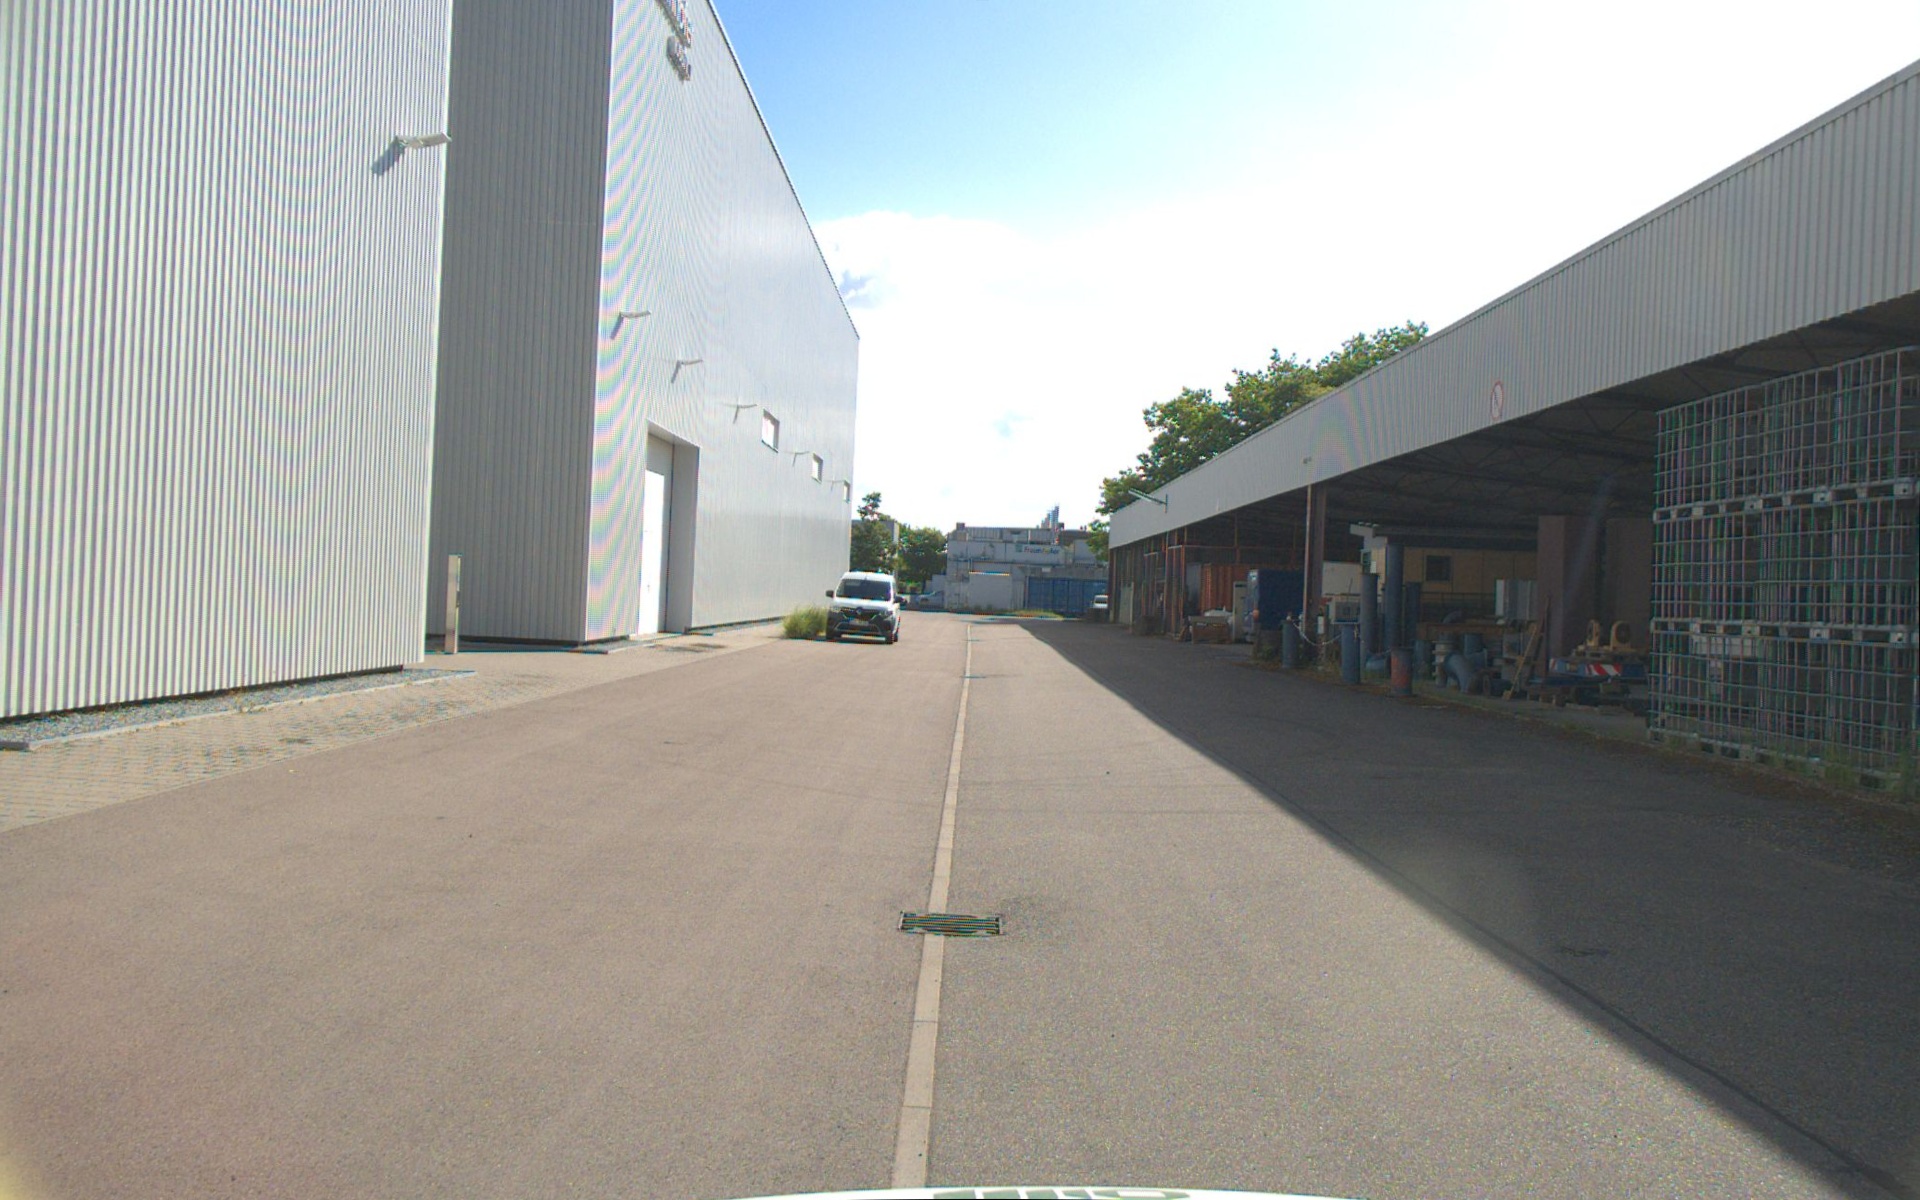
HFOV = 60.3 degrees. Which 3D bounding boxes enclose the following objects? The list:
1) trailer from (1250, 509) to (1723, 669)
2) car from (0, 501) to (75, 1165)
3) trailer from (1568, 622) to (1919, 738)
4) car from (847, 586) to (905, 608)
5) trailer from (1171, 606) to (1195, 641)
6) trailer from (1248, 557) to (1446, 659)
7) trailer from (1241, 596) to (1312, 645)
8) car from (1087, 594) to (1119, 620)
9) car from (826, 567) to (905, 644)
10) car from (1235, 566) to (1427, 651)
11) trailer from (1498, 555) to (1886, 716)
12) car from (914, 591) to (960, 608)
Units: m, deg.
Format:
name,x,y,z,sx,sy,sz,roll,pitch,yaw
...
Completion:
name,x,y,z,sx,sy,sz,roll,pitch,yaw
trailer,12.025,-0.251,38.391,10.056,3.401,2.801,1,0,1
car,-2.960,0.471,1.611,1.721,1.470,4.315,5,1,1
trailer,10.229,0.913,19.223,5.611,1.206,1.974,1,0,-1
car,-6.394,-0.211,126.482,4.357,1.558,1.824,1,0,0
trailer,7.473,0.771,55.416,0.540,1.138,1.546,1,0,-1
trailer,9.509,0.197,40.894,4.423,2.383,2.047,1,0,1
trailer,9.997,0.626,52.301,1.995,1.492,1.739,1,0,4
car,9.862,0.498,113.983,1.938,1.630,4.379,1,1,2
car,-2.483,0.146,44.516,1.747,1.847,4.601,4,0,0
car,11.093,0.264,49.686,5.223,2.321,2.152,2,0,-1
trailer,9.856,0.463,22.563,4.331,2.025,2.163,1,0,2
car,-2.109,-0.008,154.367,4.215,1.483,1.824,1,0,0
